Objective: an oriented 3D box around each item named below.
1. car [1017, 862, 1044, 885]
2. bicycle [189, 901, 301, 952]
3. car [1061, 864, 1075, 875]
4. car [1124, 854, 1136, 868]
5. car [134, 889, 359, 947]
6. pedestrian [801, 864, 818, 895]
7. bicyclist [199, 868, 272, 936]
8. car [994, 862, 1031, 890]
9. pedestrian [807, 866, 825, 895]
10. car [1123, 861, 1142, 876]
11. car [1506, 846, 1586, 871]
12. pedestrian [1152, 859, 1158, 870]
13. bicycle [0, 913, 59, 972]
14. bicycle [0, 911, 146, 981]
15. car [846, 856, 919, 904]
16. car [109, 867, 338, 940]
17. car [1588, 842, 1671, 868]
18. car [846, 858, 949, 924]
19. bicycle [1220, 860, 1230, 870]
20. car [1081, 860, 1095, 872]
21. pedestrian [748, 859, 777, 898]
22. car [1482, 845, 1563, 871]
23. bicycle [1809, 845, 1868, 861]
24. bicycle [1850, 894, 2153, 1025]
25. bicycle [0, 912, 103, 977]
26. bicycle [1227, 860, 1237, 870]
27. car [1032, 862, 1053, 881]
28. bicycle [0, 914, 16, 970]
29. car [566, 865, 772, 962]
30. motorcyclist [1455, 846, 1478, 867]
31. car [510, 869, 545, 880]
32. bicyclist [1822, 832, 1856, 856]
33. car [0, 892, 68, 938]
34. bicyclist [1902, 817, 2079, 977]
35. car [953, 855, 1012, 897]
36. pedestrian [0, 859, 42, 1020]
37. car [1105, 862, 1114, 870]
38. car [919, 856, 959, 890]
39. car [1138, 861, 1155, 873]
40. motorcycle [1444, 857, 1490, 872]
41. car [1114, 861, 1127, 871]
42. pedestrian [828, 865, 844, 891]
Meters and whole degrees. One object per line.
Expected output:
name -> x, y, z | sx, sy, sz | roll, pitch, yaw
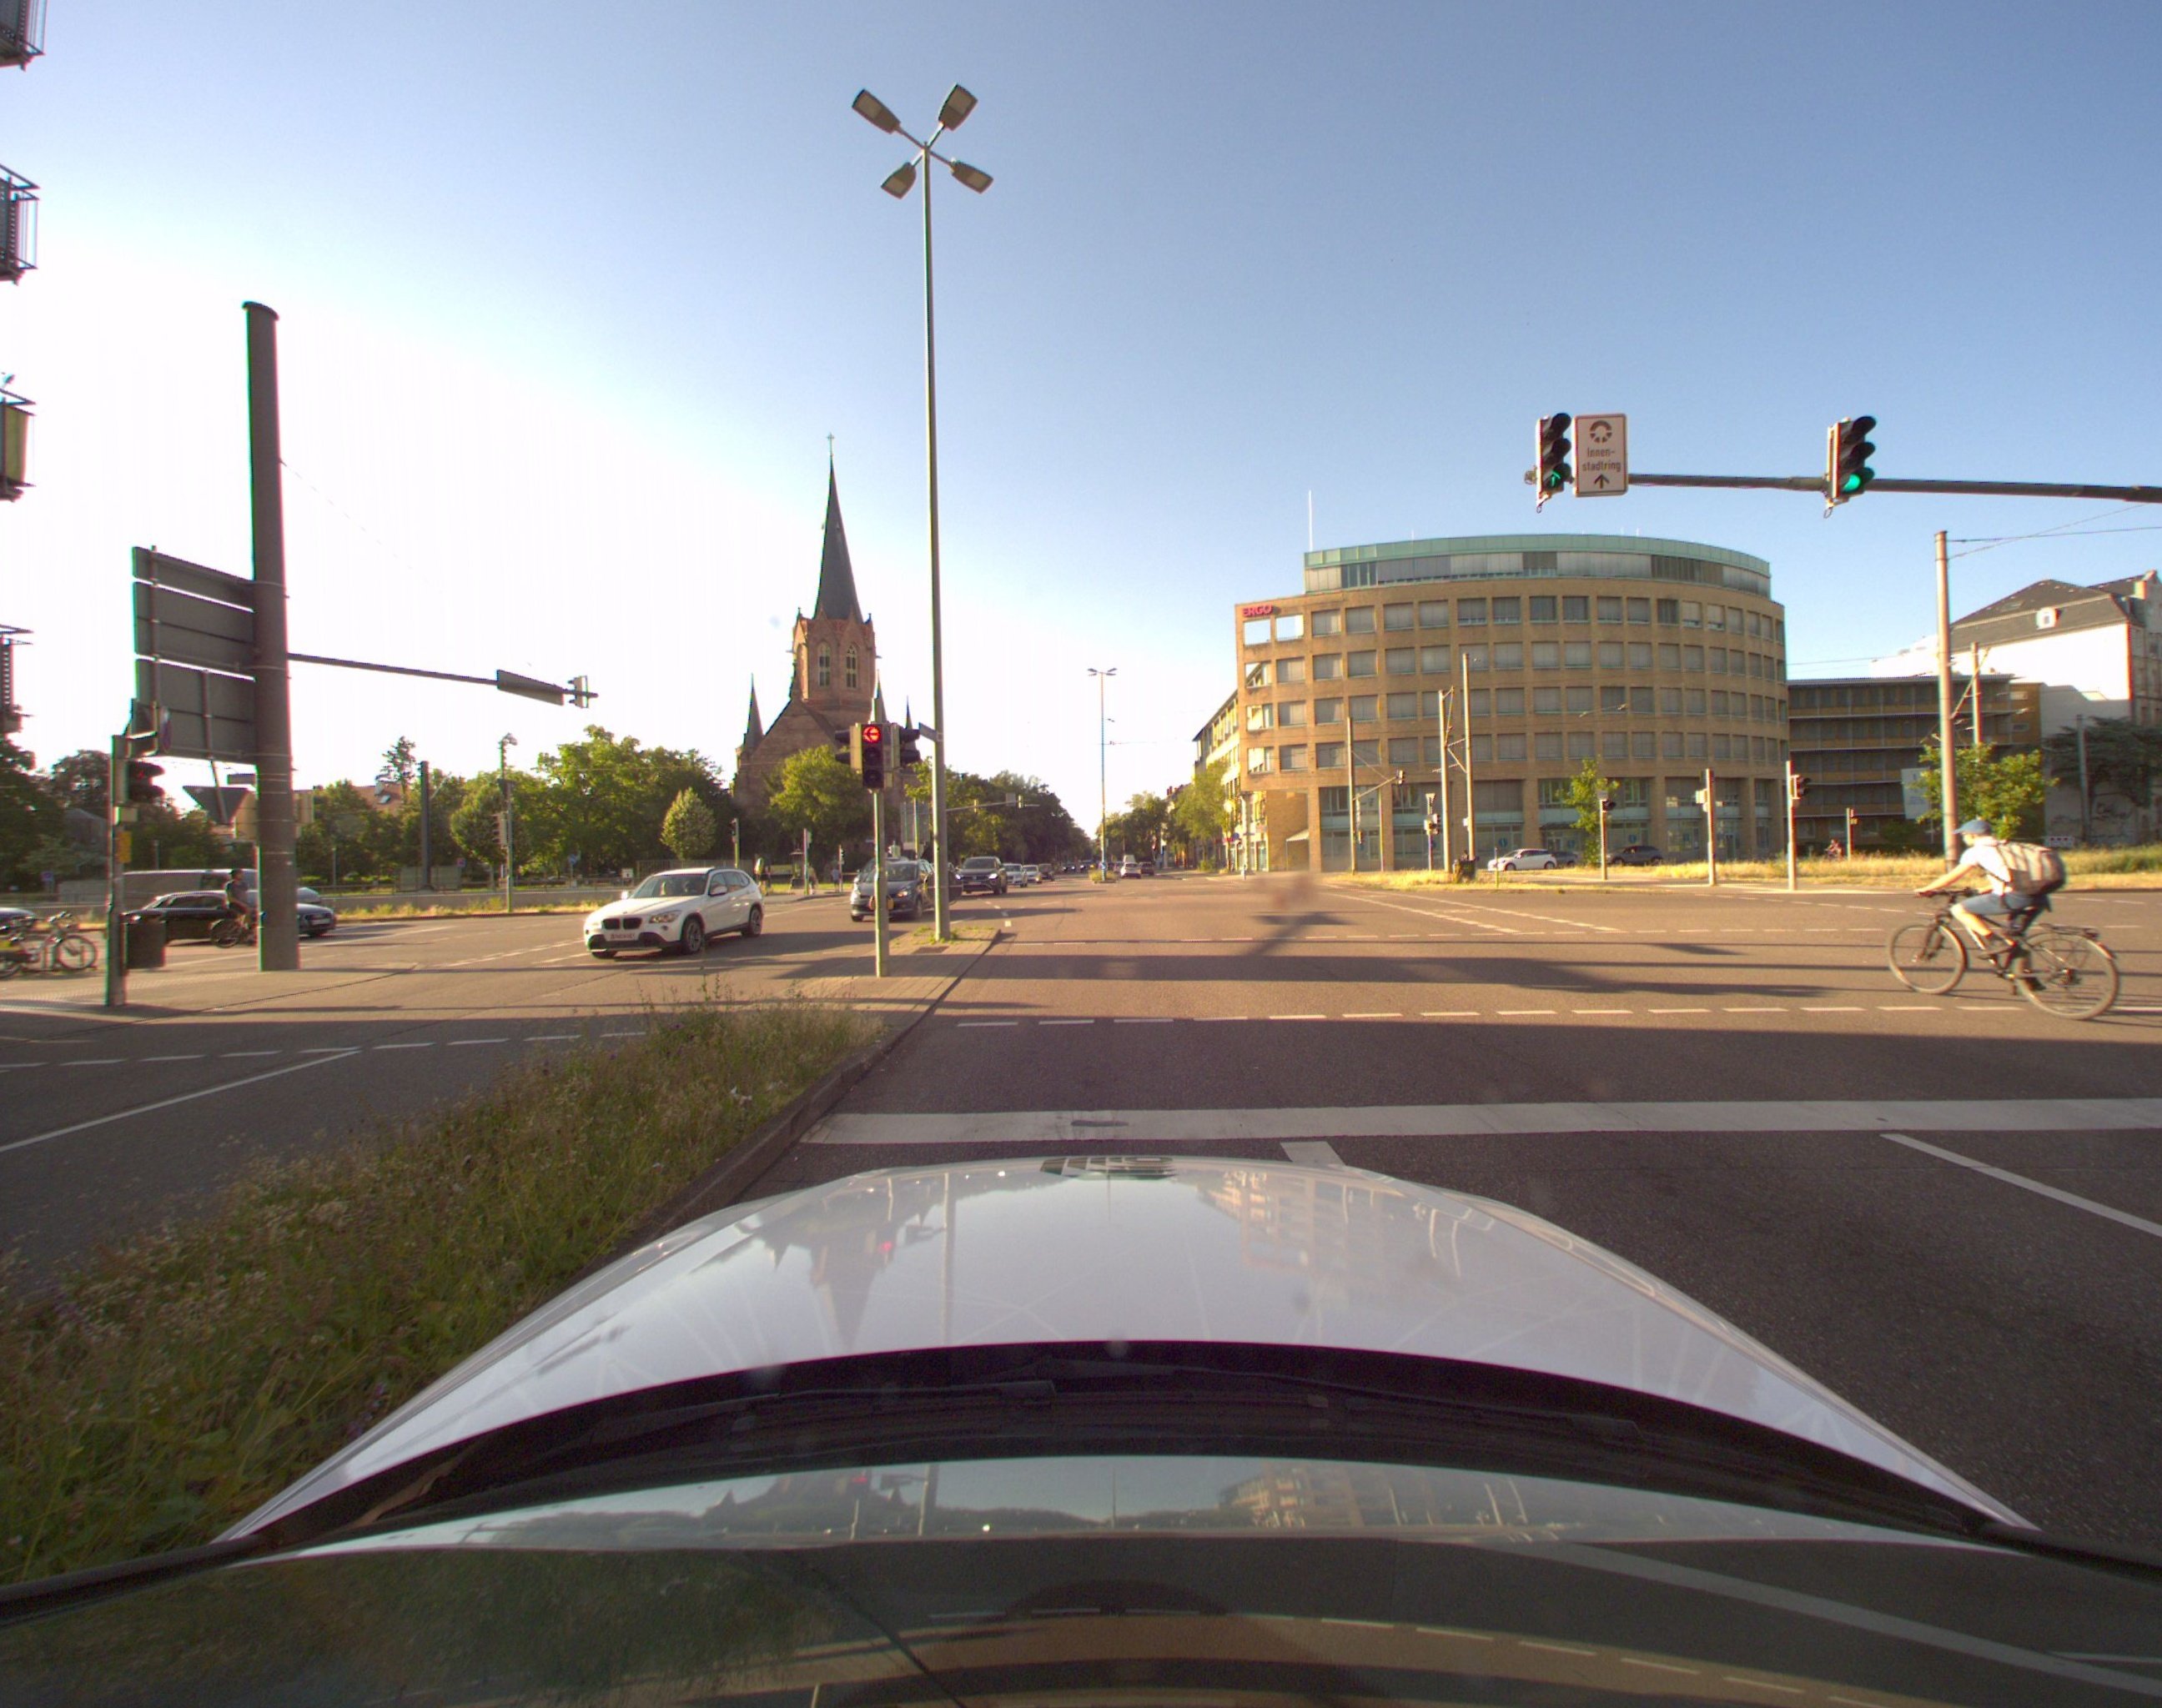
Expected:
car -> -3.754, 1.410, 61.157 | 1.669, 1.544, 3.807 | -3, 0, 1
bicycle -> -20.841, 1.788, 20.329 | 1.770, 1.097, 0.952 | -3, 0, 1
car -> -2.111, 2.469, 129.997 | 1.987, 1.724, 4.593 | -2, -1, 1
car -> 8.801, 1.274, 145.565 | 1.986, 2.440, 4.001 | 0, -1, 2
car -> -22.681, 1.723, 22.264 | 4.175, 1.312, 1.800 | -2, -1, -1
pedestrian -> -14.895, 1.380, 44.695 | 0.706, 1.696, 0.894 | 0, -1, -4
bicyclist -> -21.091, 1.184, 20.328 | 0.733, 1.598, 0.963 | -3, 0, 1
car -> -4.042, 1.281, 48.539 | 1.702, 1.425, 4.103 | -3, 0, 1
pedestrian -> -15.497, 1.543, 47.640 | 0.842, 1.696, 1.013 | 0, -1, -11
car -> 4.633, 1.274, 73.454 | 1.589, 1.267, 3.268 | -2, 0, 2
car -> 32.587, 0.326, 57.121 | 4.465, 1.537, 1.987 | -2, -1, 2
pedestrian -> 11.993, 1.675, 131.450 | 0.844, 1.803, 0.776 | -2, 0, 1
bicycle -> -20.375, 1.671, 14.774 | 0.732, 1.051, 2.300 | -2, -1, 1
bicycle -> -18.757, 1.647, 14.835 | 0.732, 1.051, 2.300 | -2, 0, 1
car -> -7.566, 0.946, 31.436 | 1.714, 1.628, 4.102 | -3, 0, 0
car -> -26.642, 1.496, 25.447 | 4.908, 2.014, 1.999 | -2, -1, -1
car -> 35.105, 0.085, 52.169 | 4.038, 1.492, 1.820 | -2, -1, 0
car -> -4.704, 0.883, 21.438 | 1.585, 1.471, 3.988 | -3, 0, 3
bicycle -> 15.100, 1.144, 85.464 | 0.644, 0.994, 2.081 | -2, -1, 1
car -> 1.046, 1.850, 121.706 | 1.987, 1.724, 5.031 | -2, -1, 1
pedestrian -> -14.417, 1.093, 36.909 | 0.962, 1.739, 0.812 | -1, -1, -1
car -> 28.226, 0.279, 52.159 | 4.150, 1.492, 1.994 | -2, -1, -1
bicycle -> 51.373, -0.059, 55.230 | 2.951, 1.000, 1.154 | -2, -1, -1
bicycle -> 8.268, 0.890, 7.475 | 0.590, 0.943, 1.979 | 0, 0, 2
bicycle -> -19.563, 1.669, 14.810 | 0.732, 1.051, 2.300 | -2, -1, 1
bicycle -> 15.007, 1.109, 81.016 | 0.644, 0.994, 2.081 | -2, -1, 1
car -> -3.368, 1.533, 71.988 | 1.572, 1.544, 3.478 | -3, 0, 1
bicycle -> -21.166, 1.703, 14.742 | 0.732, 1.051, 2.300 | -2, -1, 1
car -> -7.803, 1.037, 15.961 | 1.746, 1.488, 4.249 | -3, 0, 1
motorcyclist -> 27.082, 0.176, 57.212 | 1.061, 1.435, 1.032 | -2, -1, 0
car -> -92.124, 3.403, 135.598 | 4.451, 1.571, 1.993 | -2, -1, -11
bicyclist -> 51.402, -0.646, 55.226 | 1.219, 1.572, 1.154 | -2, -1, -1
car -> -35.133, 1.970, 25.716 | 3.889, 1.374, 1.800 | -2, -1, -1
bicyclist -> 8.259, 0.370, 7.442 | 0.590, 1.369, 0.930 | 0, 0, 2
car -> -3.977, 0.851, 33.545 | 1.669, 1.544, 4.105 | -3, 0, 2
pedestrian -> -12.968, 1.005, 9.493 | 0.606, 1.875, 0.812 | 1, 0, 2
car -> 4.854, 2.047, 139.506 | 1.589, 1.267, 3.268 | -2, 0, 2
car -> -7.243, 0.926, 41.812 | 1.531, 1.593, 2.806 | -3, 0, -2
car -> 7.149, 1.388, 88.972 | 1.589, 1.267, 3.268 | -2, 0, 2
motorcycle -> 27.083, 0.709, 57.203 | 2.709, 0.964, 1.032 | -2, -1, 0
car -> 4.951, 1.500, 102.251 | 1.589, 1.267, 3.268 | -2, 0, 2
pedestrian -> -16.402, 1.606, 54.508 | 0.841, 1.696, 1.014 | 0, -1, -7
